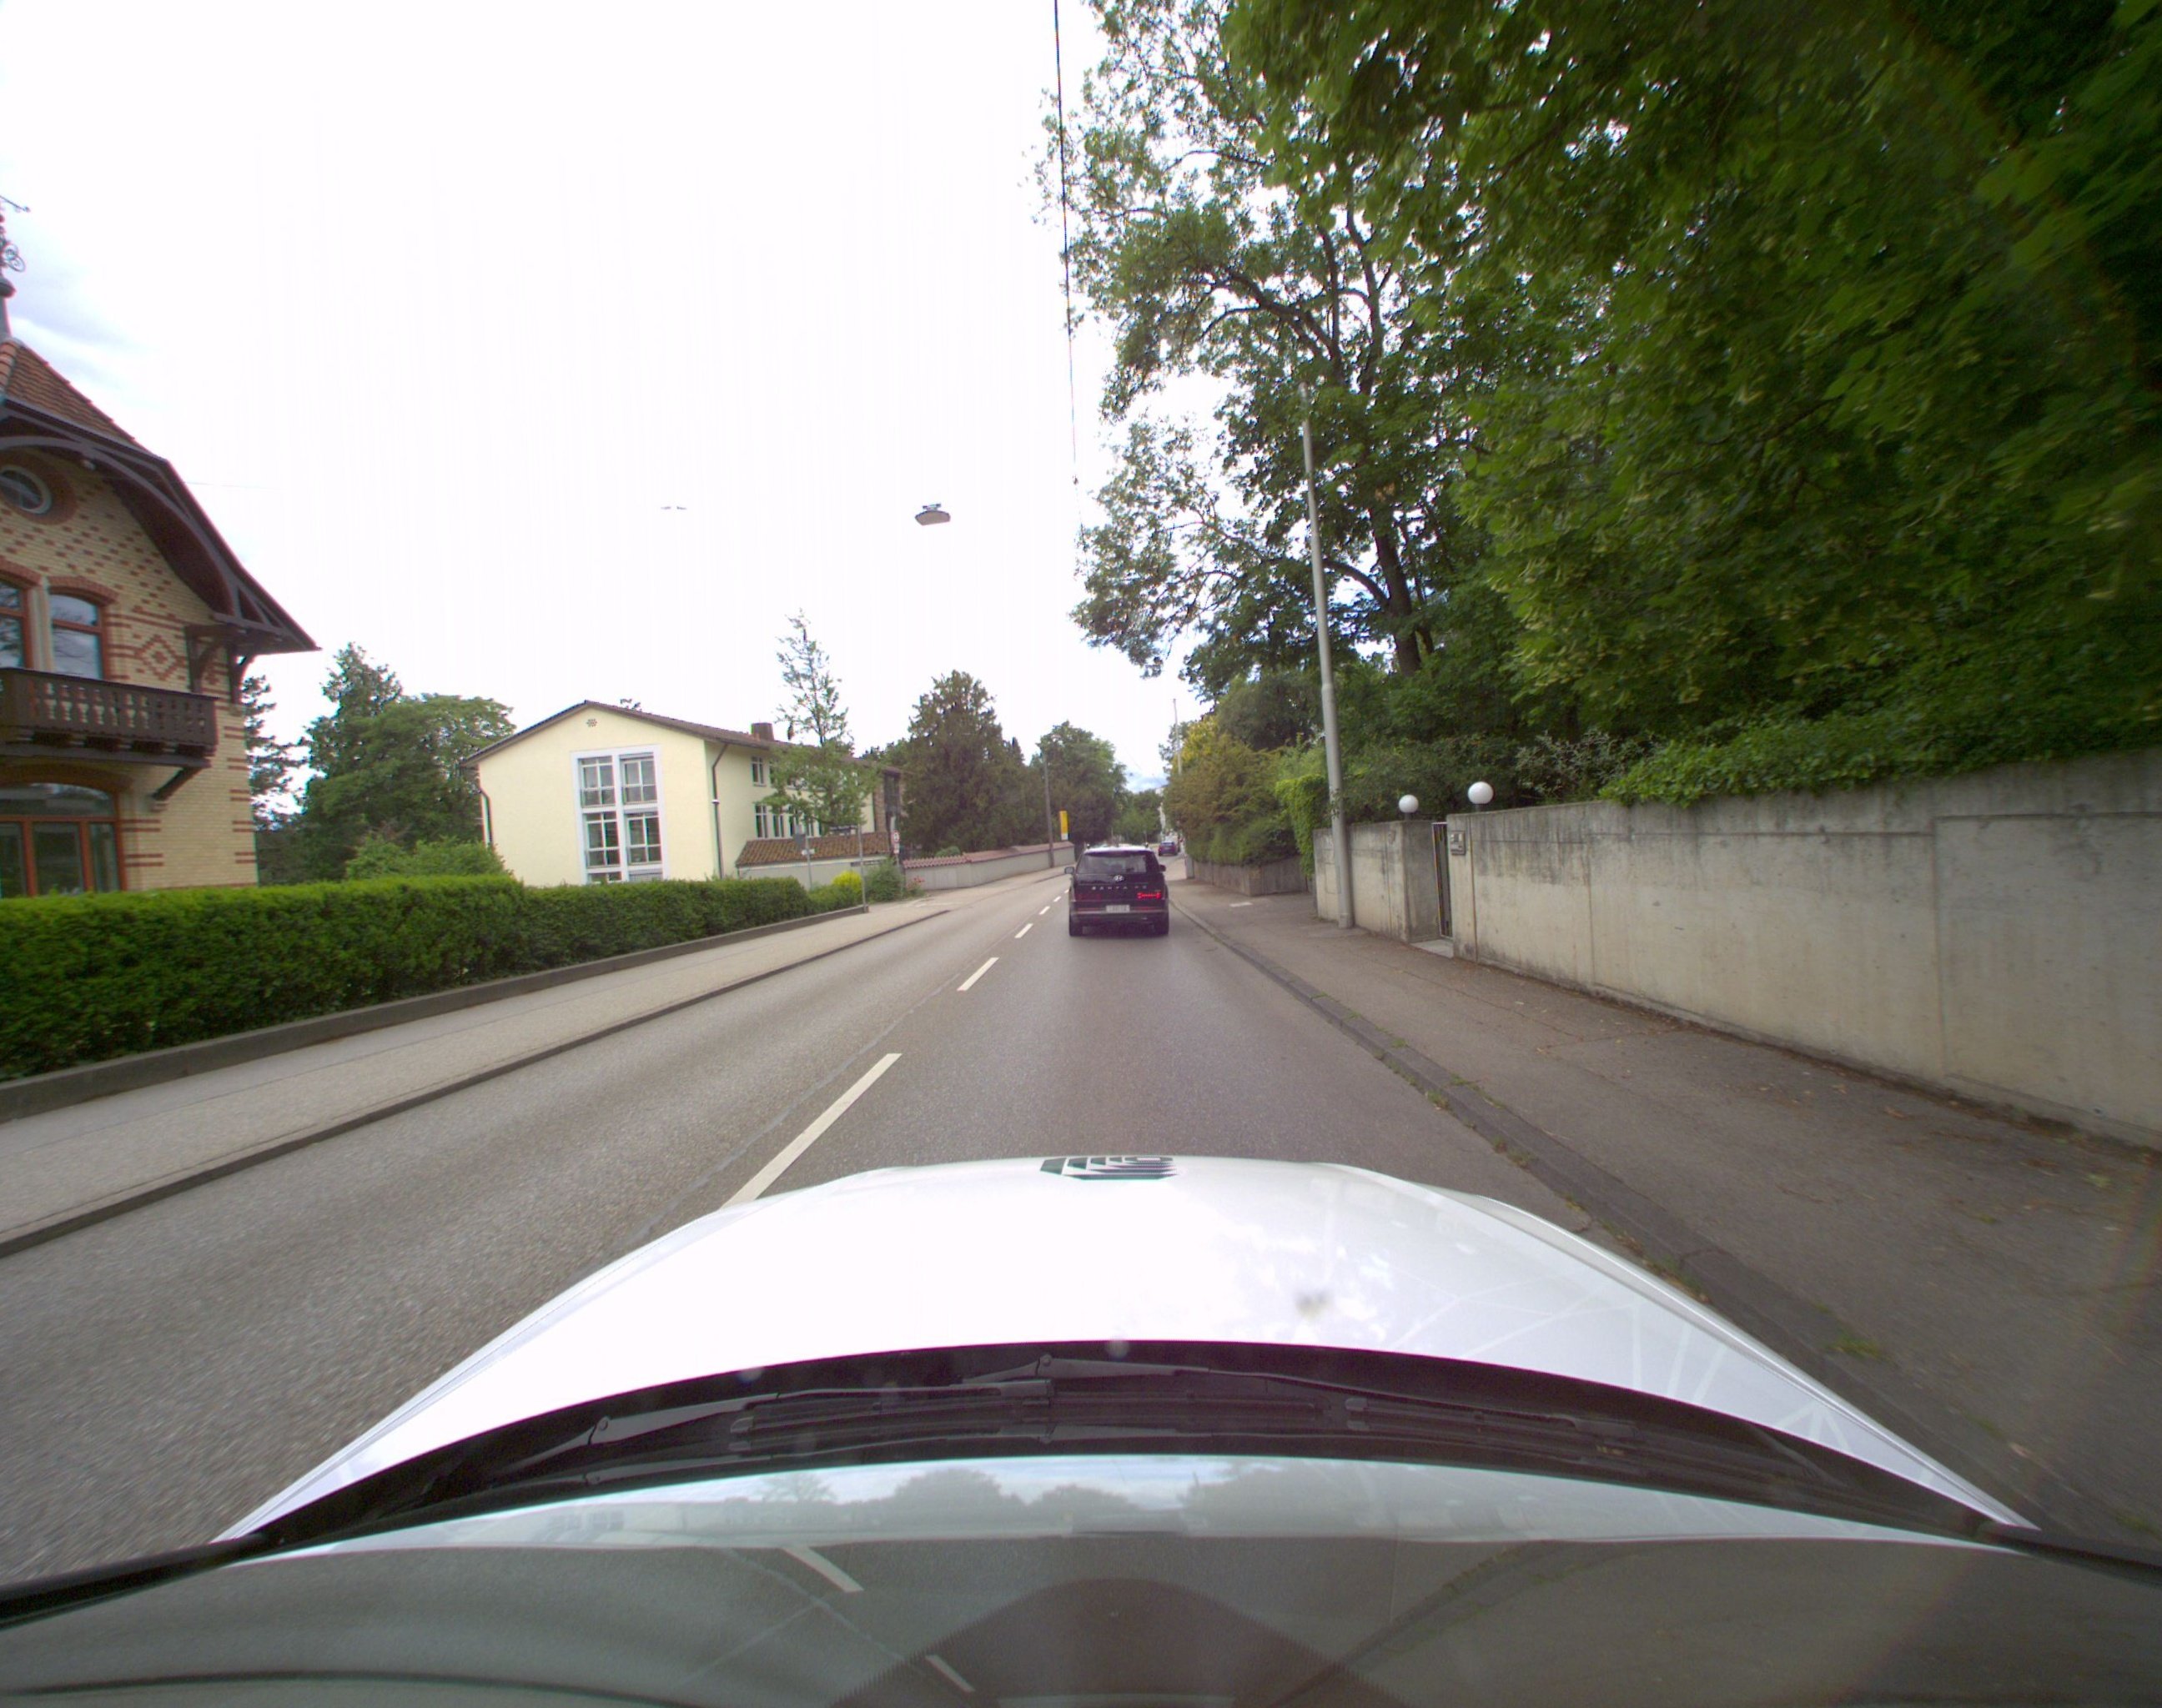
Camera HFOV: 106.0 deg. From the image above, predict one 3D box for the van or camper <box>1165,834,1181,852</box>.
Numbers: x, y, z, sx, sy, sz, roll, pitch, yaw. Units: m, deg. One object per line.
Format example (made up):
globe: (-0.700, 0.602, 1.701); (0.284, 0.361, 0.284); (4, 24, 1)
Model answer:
van or camper: (11.191, -1.330, 98.912); (1.665, 2.007, 3.949); (-4, 1, 10)

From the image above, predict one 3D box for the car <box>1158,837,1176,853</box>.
car: (8.974, -0.922, 84.548); (1.666, 1.422, 3.946); (-4, 1, 7)

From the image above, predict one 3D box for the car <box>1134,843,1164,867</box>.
car: (4.765, 0.036, 56.504); (1.665, 1.422, 3.949); (-4, 1, 9)

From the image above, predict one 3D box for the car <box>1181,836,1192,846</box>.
car: (18.338, -2.322, 141.031); (1.665, 1.541, 3.949); (-4, 1, 10)

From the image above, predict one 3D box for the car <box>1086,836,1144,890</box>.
car: (1.447, 0.309, 33.152); (1.946, 1.955, 4.233); (-1, 2, 7)

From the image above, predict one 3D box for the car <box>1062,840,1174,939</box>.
car: (0.726, 0.617, 16.497); (1.950, 1.713, 4.225); (-1, 0, 2)
